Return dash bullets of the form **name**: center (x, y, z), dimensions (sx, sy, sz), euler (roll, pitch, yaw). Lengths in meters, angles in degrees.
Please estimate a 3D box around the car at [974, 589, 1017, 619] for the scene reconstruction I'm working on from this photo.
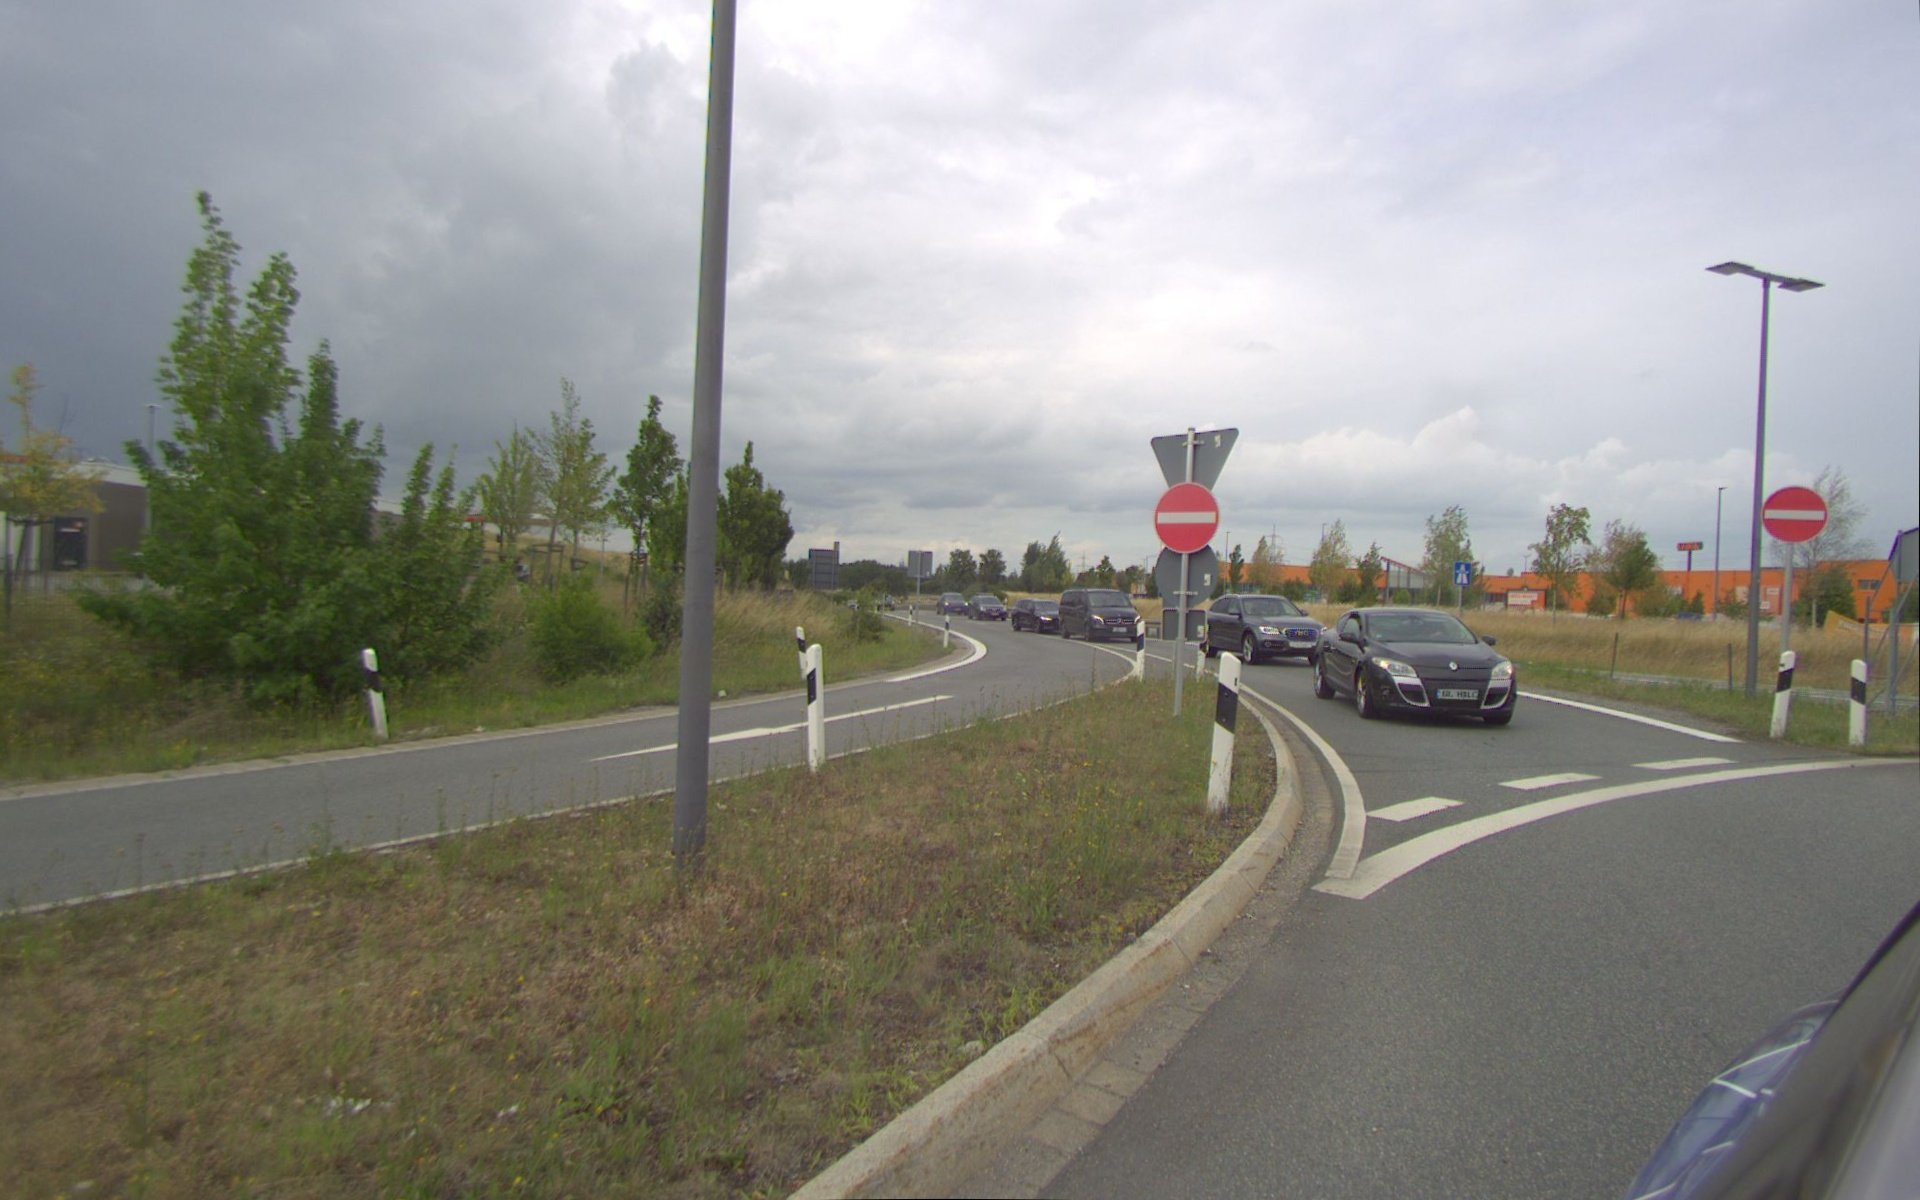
- **car**: center (2.079, 0.214, 61.072), dimensions (1.726, 1.684, 4.007), euler (1, 0, -11)

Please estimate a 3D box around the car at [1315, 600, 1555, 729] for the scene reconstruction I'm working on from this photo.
- **car**: center (6.079, 0.721, 13.517), dimensions (1.814, 1.387, 4.133), euler (1, 0, 9)

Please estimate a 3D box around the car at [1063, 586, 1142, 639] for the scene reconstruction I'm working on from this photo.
- **car**: center (4.978, 0.397, 36.029), dimensions (1.688, 1.743, 4.751), euler (1, 0, -6)

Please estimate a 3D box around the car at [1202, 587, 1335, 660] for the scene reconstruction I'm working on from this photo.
- **car**: center (7.428, 0.503, 24.831), dimensions (1.848, 1.603, 4.277), euler (1, 0, -1)

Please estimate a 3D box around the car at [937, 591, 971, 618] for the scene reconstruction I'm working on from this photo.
- **car**: center (-0.450, 0.299, 73.380), dimensions (1.726, 1.906, 4.007), euler (1, 0, -10)

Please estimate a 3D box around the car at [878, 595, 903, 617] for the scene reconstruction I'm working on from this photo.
- **car**: center (-6.390, 0.540, 92.296), dimensions (1.726, 1.906, 4.008), euler (1, 0, -12)

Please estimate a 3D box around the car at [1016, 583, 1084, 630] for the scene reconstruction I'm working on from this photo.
- **car**: center (3.815, 0.252, 43.678), dimensions (1.768, 1.906, 4.008), euler (1, 0, -13)

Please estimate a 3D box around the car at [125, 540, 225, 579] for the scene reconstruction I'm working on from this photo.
- **car**: center (-32.517, -1.631, 42.048), dimensions (1.635, 1.449, 4.007), euler (1, 0, -11)

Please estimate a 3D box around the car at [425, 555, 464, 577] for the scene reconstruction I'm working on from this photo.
- **car**: center (-38.929, -2.549, 76.519), dimensions (1.762, 1.558, 3.670), euler (1, 1, -13)
